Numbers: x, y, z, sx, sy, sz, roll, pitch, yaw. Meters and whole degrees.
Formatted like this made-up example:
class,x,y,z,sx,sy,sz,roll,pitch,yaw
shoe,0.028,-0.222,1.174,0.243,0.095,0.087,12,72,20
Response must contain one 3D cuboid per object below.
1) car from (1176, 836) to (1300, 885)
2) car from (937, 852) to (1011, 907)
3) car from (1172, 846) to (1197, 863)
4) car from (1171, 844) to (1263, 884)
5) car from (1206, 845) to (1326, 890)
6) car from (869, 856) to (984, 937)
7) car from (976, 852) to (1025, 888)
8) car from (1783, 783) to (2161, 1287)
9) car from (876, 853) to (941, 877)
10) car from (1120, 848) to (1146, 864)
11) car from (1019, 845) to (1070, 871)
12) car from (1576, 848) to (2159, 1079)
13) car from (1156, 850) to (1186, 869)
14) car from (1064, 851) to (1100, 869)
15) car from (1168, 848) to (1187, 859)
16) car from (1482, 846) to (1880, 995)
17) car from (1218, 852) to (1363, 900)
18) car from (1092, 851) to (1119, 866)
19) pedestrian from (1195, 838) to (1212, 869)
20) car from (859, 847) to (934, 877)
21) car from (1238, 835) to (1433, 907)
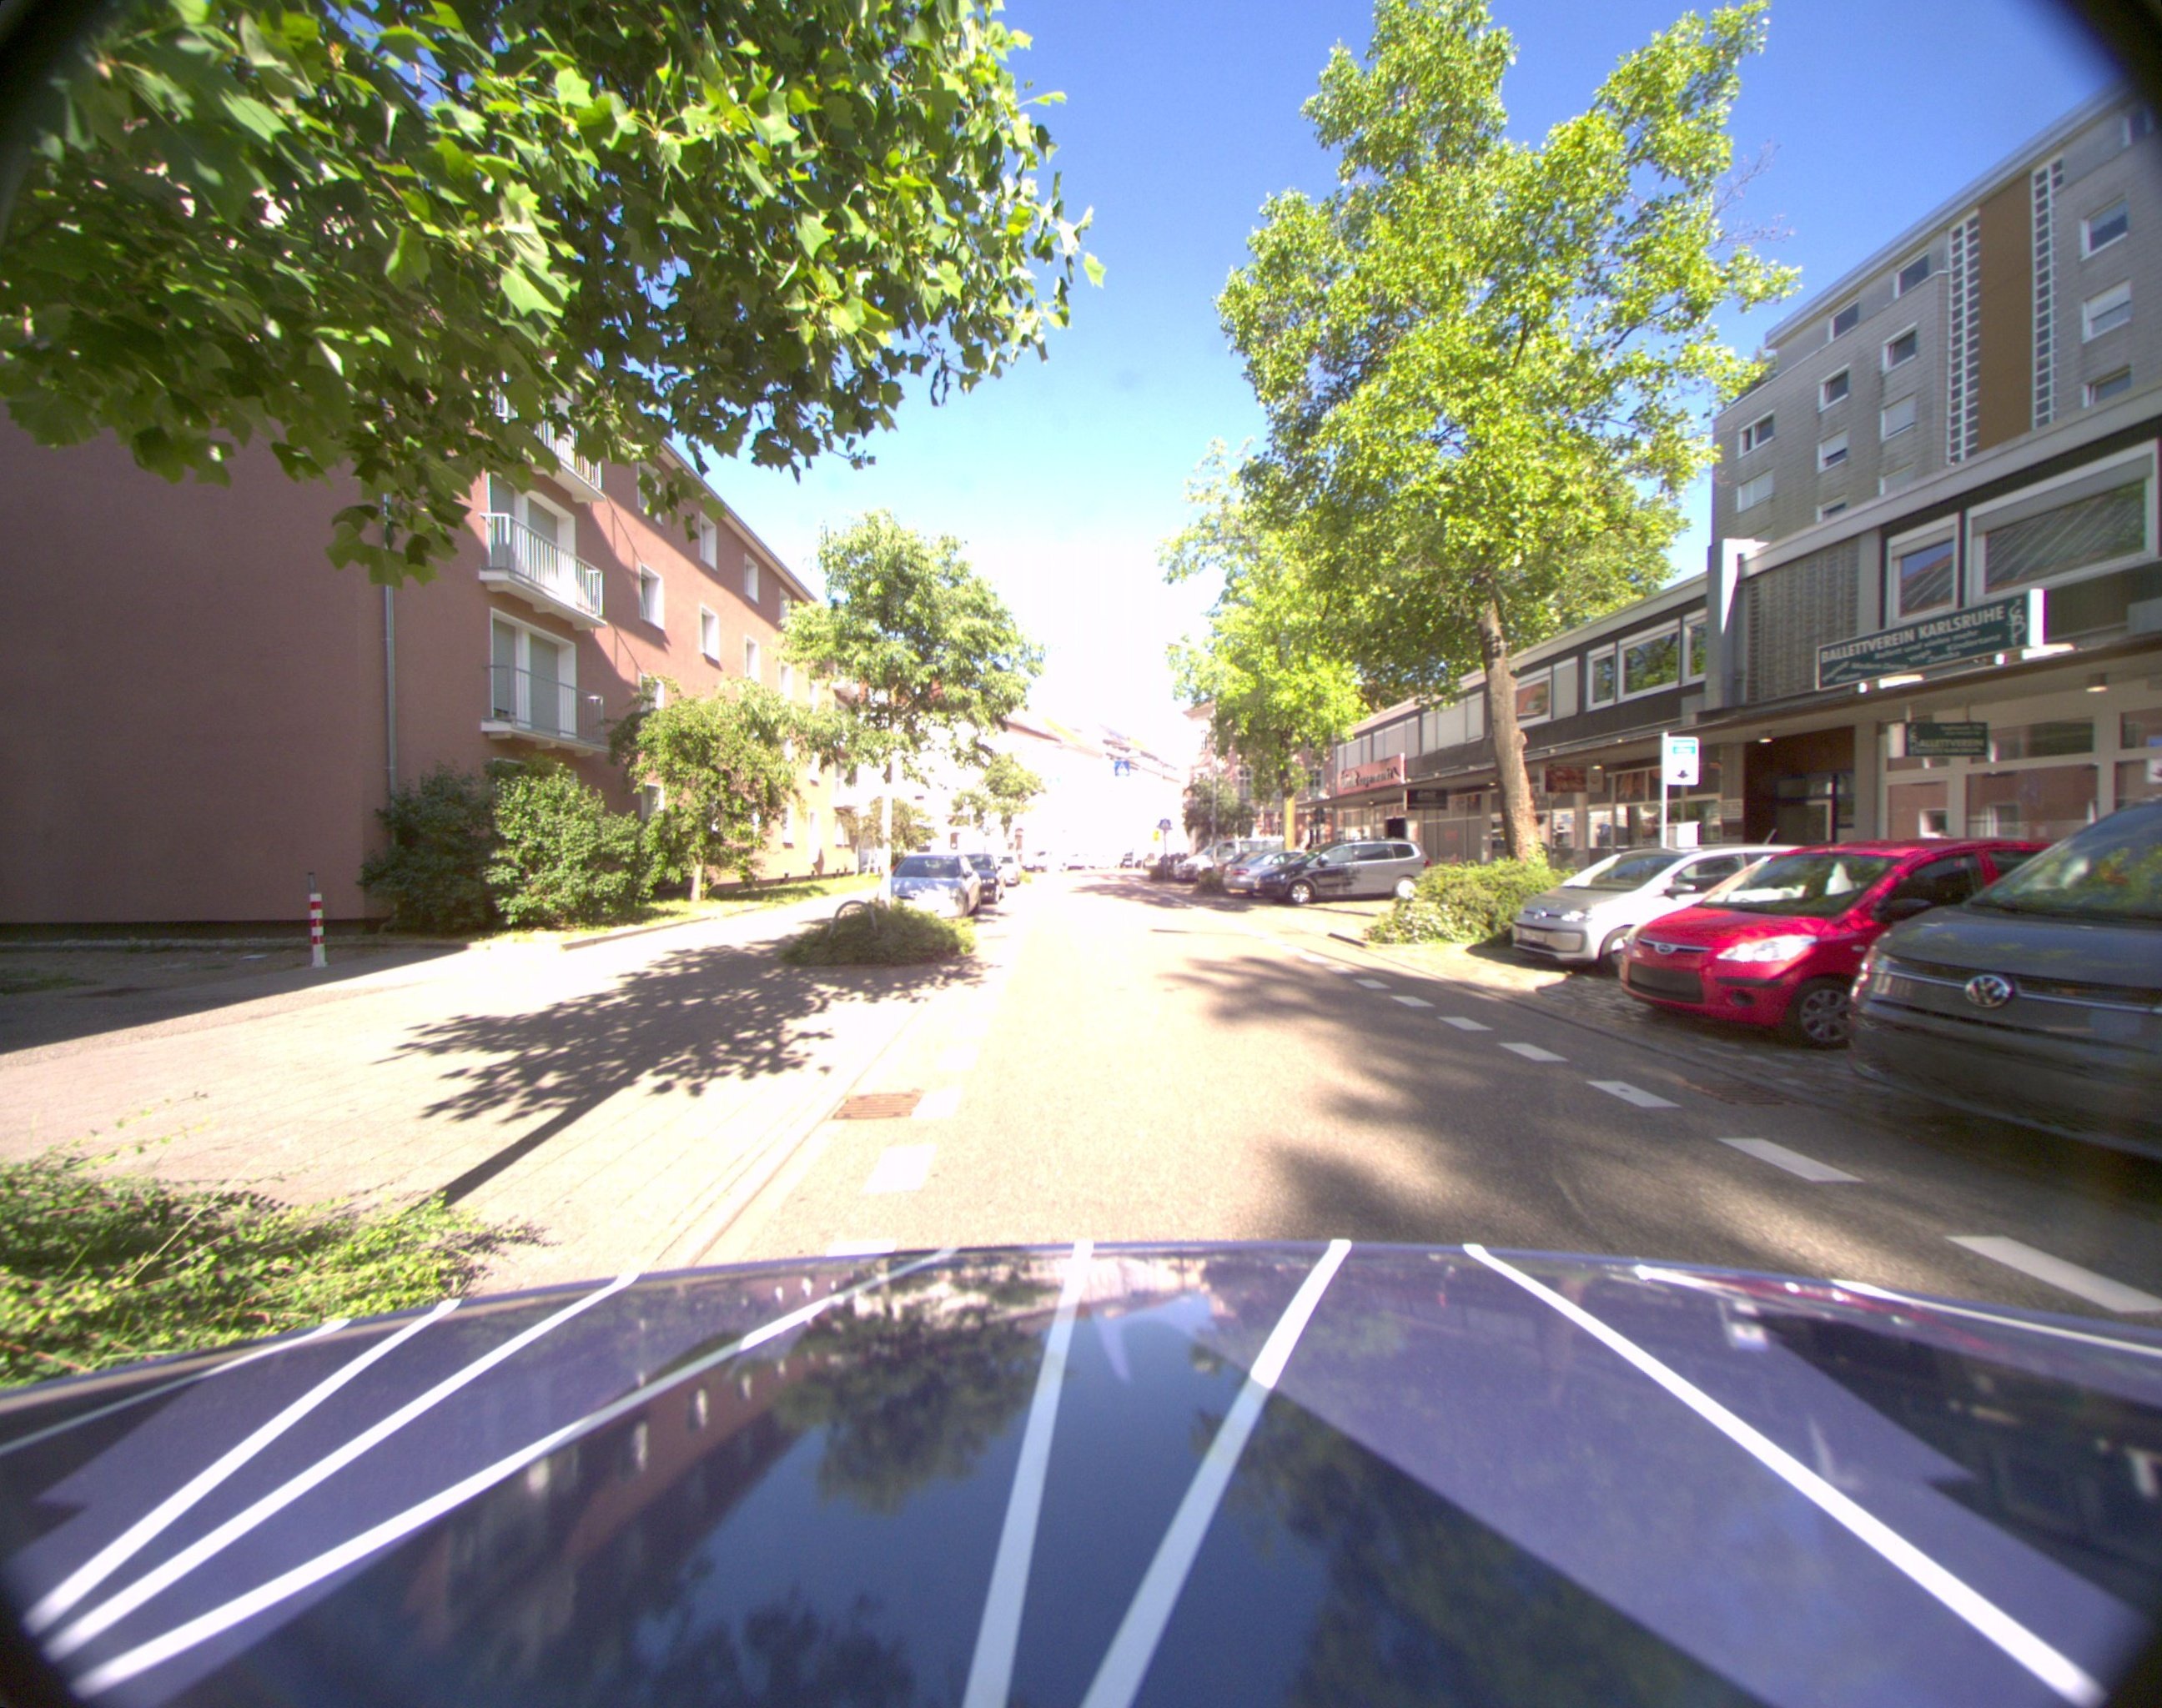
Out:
class,x,y,z,sx,sy,sz,roll,pitch,yaw
car,6.881,0.280,33.518,4.996,1.958,1.909,-2,1,-3
car,-3.114,0.691,22.799,1.662,1.473,4.310,0,0,-1
car,10.182,0.047,74.577,1.505,1.652,4.006,0,1,22
car,6.397,0.458,36.081,3.998,1.781,1.757,0,1,-3
car,6.945,0.490,28.748,3.998,1.413,1.736,-4,1,-3
car,-3.183,0.815,16.413,1.720,1.445,3.999,0,1,-1
car,-3.462,0.654,33.202,1.736,1.420,3.999,0,0,-1
car,6.620,0.610,3.513,5.043,1.927,1.872,-2,1,-1
car,-10.610,0.672,46.983,3.648,1.394,1.568,0,1,-2
car,4.925,0.219,71.622,1.609,1.444,3.300,3,1,20
car,-2.744,0.248,58.708,1.908,1.924,4.817,0,1,25
car,6.497,0.779,6.487,3.569,1.545,1.660,-2,1,-8
car,8.314,0.494,69.660,1.670,1.628,4.054,0,1,22
car,0.121,0.496,67.297,2.131,1.487,3.950,0,1,17
car,12.255,-0.082,96.310,1.632,1.413,3.299,0,1,22
car,7.185,0.734,9.359,3.596,1.552,1.672,-2,1,-1
car,6.461,0.642,23.668,3.998,1.390,1.759,0,1,-4
car,2.398,0.393,73.340,1.632,1.412,3.299,0,1,22
pedestrian,6.489,-0.026,40.208,0.727,1.630,0.807,0,1,-2
car,-12.619,0.522,52.239,4.757,2.002,1.999,-1,1,-6
car,6.989,0.452,21.154,4.782,1.767,1.873,-2,1,-3
